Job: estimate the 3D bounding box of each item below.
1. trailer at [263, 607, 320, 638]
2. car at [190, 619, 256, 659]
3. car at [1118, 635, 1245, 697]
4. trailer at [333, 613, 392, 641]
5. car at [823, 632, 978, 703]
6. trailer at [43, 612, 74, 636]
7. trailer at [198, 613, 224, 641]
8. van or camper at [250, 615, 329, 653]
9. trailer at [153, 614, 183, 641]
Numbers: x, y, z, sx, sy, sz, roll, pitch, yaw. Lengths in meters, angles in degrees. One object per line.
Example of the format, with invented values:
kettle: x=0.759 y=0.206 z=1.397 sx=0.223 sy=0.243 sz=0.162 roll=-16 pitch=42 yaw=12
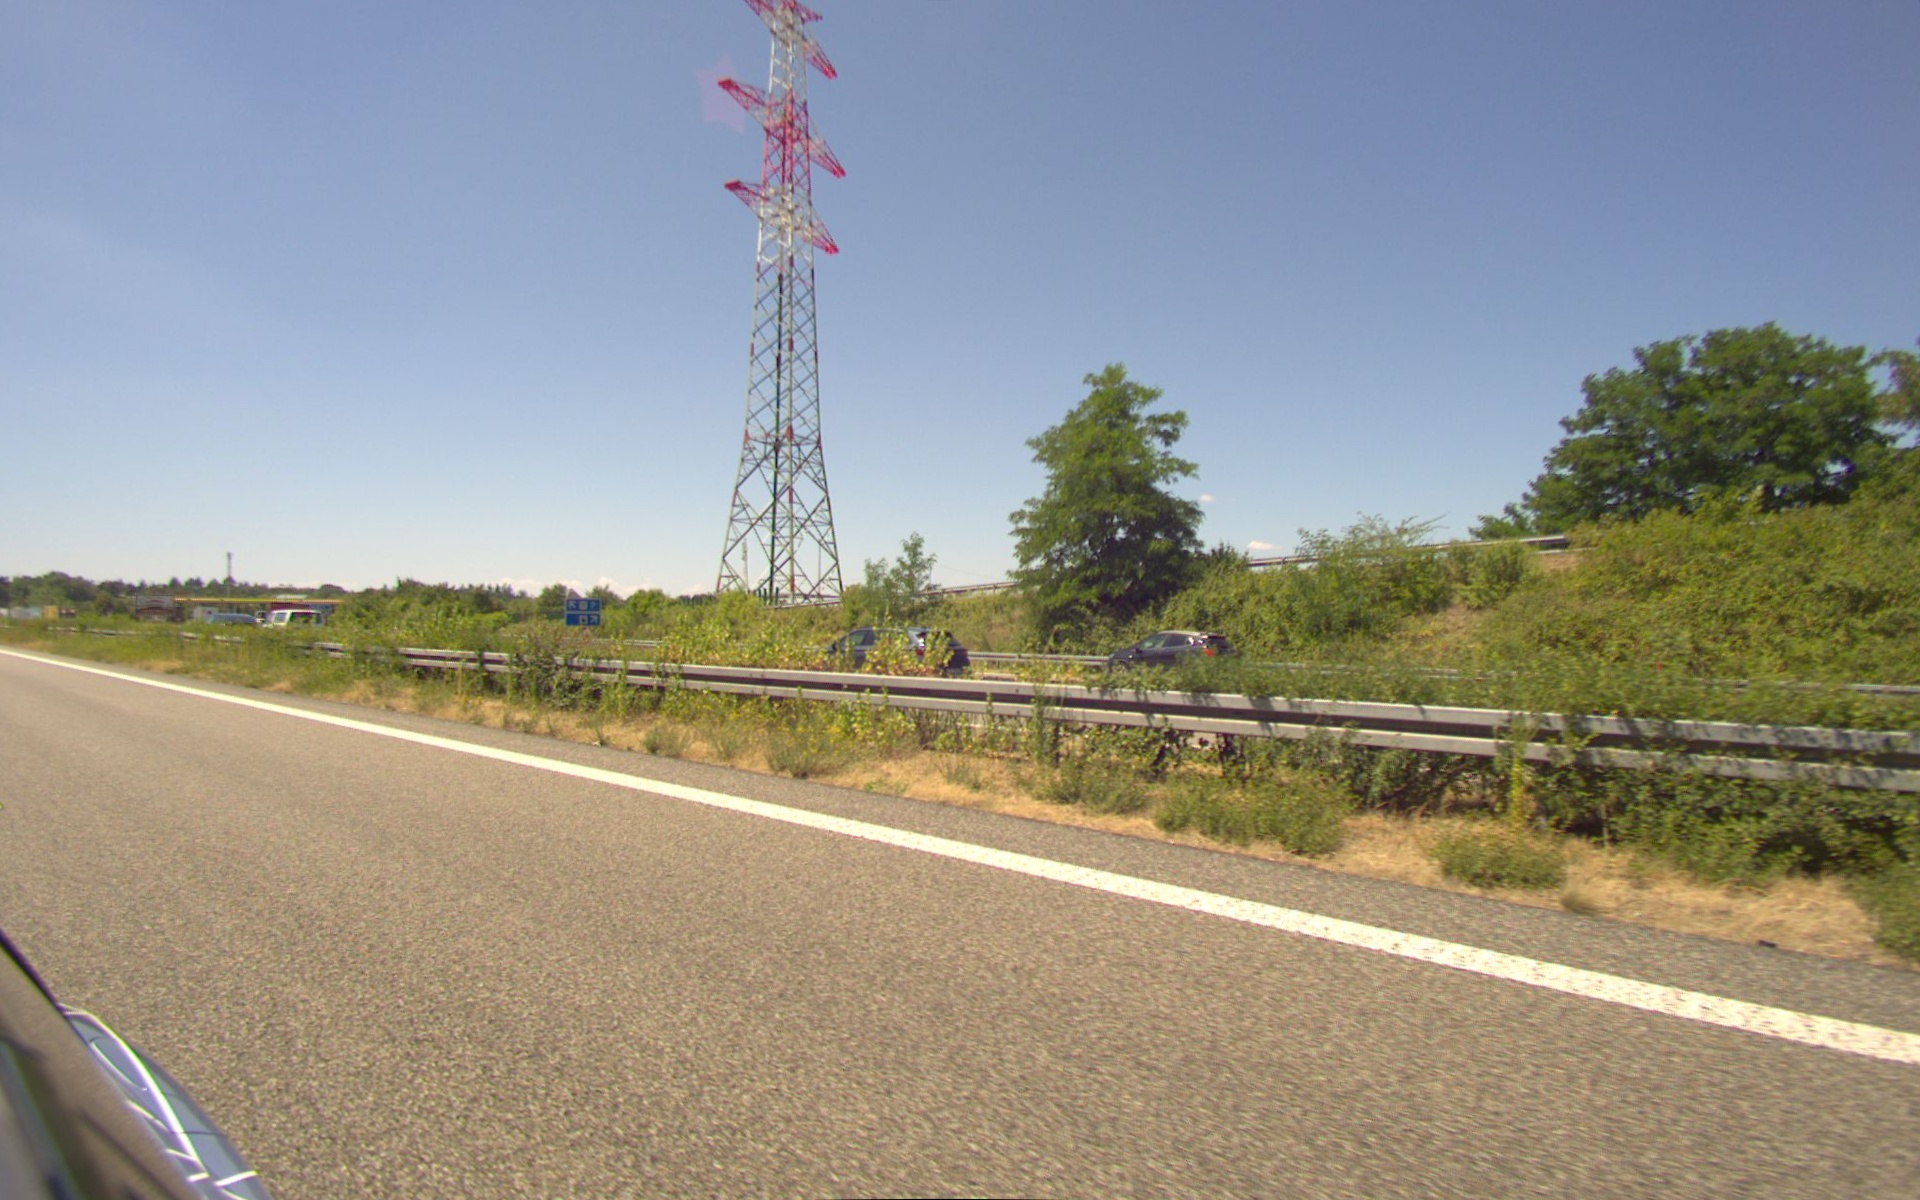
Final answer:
trailer: x=-93.392 y=3.103 z=141.604 sx=3.078 sy=4.086 sz=11.345 roll=-1 pitch=0 yaw=-15
car: x=-33.100 y=1.733 z=45.441 sx=3.726 sy=1.675 sz=1.613 roll=-1 pitch=0 yaw=42
car: x=6.401 y=1.881 z=29.462 sx=3.362 sy=1.625 sz=1.359 roll=-1 pitch=0 yaw=41
trailer: x=-98.111 y=4.351 z=166.346 sx=3.122 sy=4.298 sz=11.062 roll=-1 pitch=0 yaw=0
car: x=-1.368 y=1.462 z=22.597 sx=3.324 sy=1.440 sz=1.534 roll=-1 pitch=-3 yaw=41
trailer: x=-168.587 y=4.539 z=189.290 sx=11.075 sy=4.251 sz=2.804 roll=-1 pitch=0 yaw=40
trailer: x=-137.125 y=4.878 z=185.298 sx=3.257 sy=4.911 sz=9.708 roll=-1 pitch=0 yaw=-34
van or camper: x=-35.431 y=1.807 z=53.436 sx=5.309 sy=1.870 sz=2.103 roll=-1 pitch=-4 yaw=42
trailer: x=-147.279 y=5.122 z=188.122 sx=9.133 sy=4.886 sz=3.000 roll=-1 pitch=0 yaw=43
